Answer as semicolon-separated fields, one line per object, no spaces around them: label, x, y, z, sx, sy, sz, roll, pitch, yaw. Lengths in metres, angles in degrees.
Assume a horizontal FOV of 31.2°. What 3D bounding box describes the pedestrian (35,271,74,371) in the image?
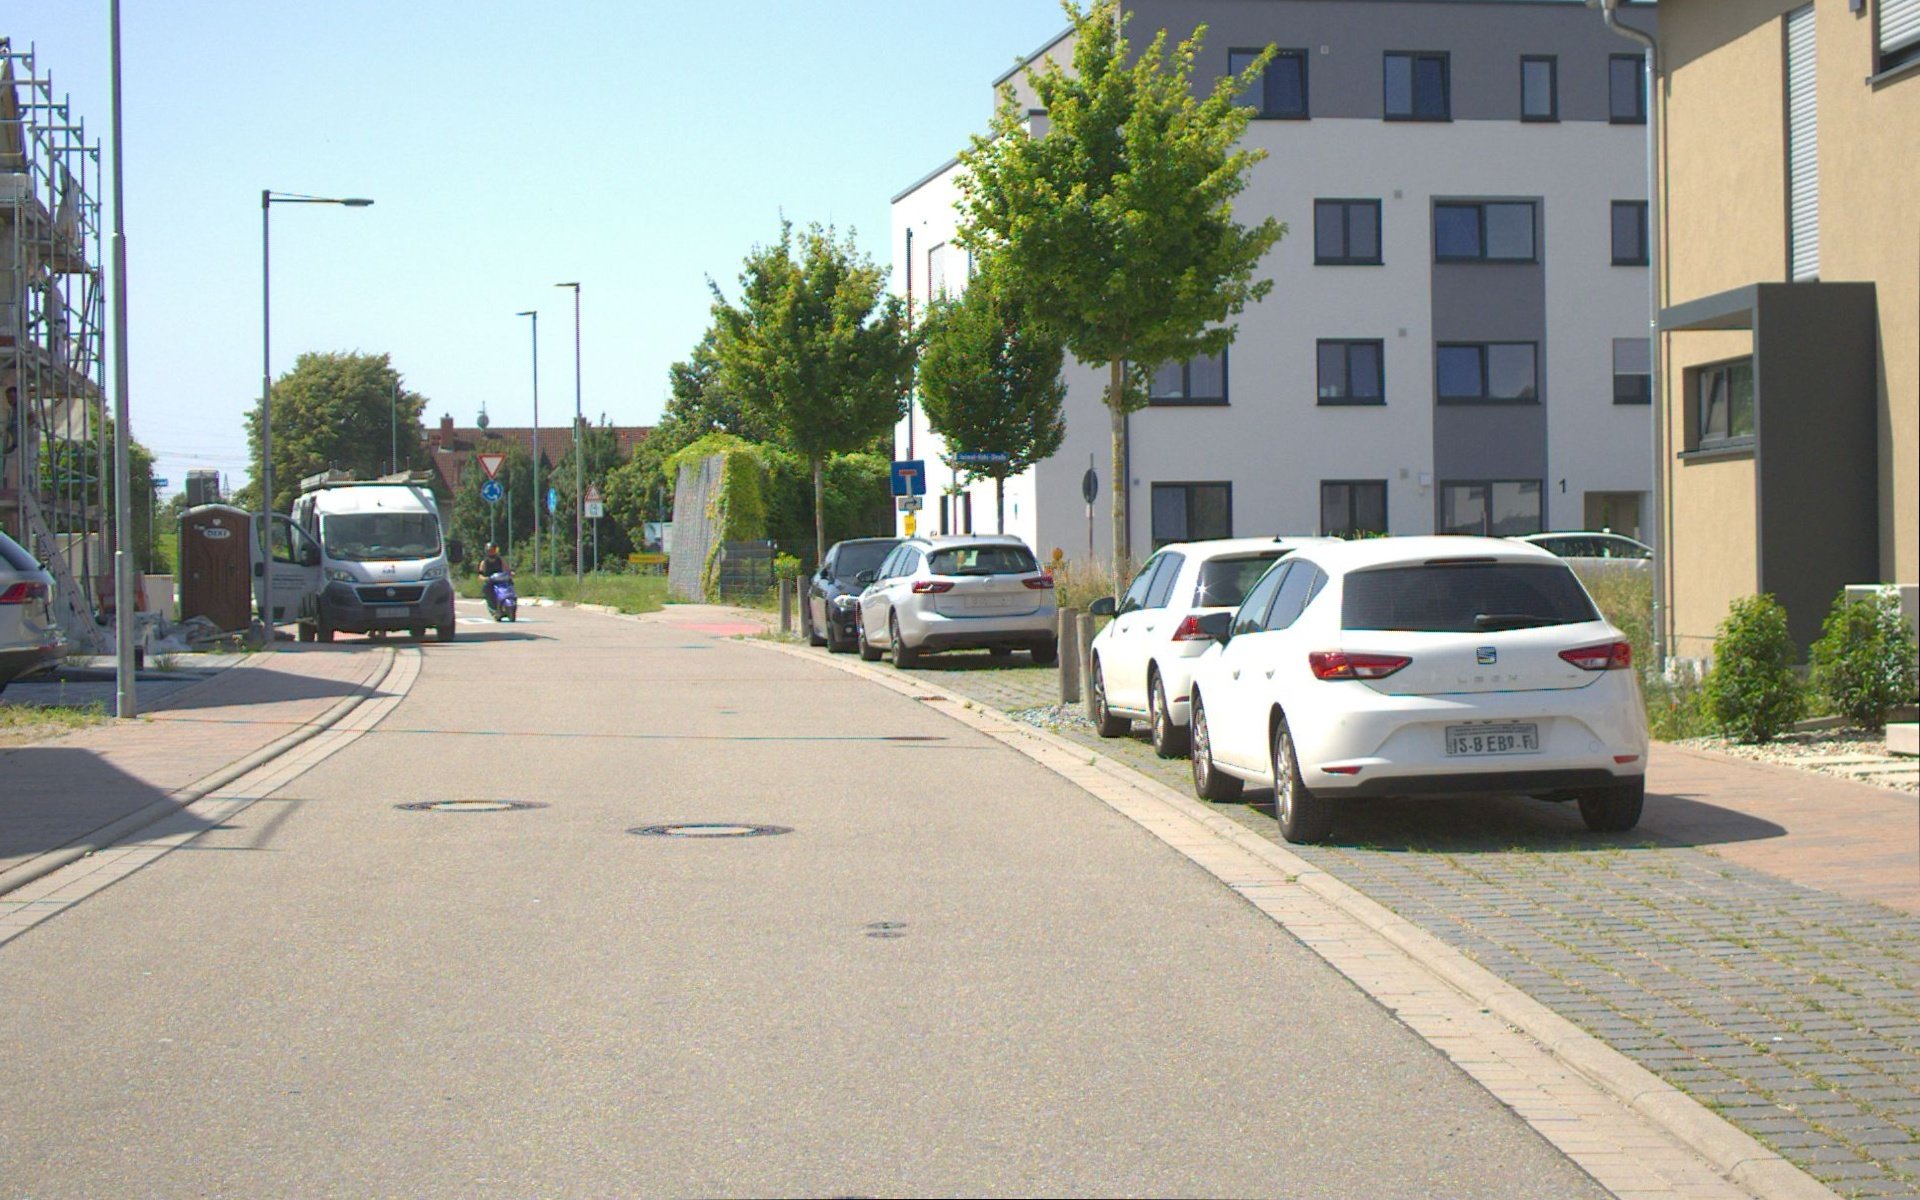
pedestrian;-14.196;-4.365;53.911;0.561;1.494;0.748;-1;-1;-14

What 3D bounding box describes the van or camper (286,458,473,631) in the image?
van or camper;-9.252;-0.845;54.343;2.272;2.544;6.369;-1;0;-15

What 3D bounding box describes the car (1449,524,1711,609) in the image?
car;11.016;-0.591;61.219;4.157;1.431;1.883;-1;0;-11

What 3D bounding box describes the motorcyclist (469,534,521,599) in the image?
motorcyclist;-9.025;-0.657;66.676;0.924;1.218;0.804;-1;2;-12

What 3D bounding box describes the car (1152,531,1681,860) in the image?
car;2.239;0.402;18.151;1.814;1.451;4.565;-2;1;-4

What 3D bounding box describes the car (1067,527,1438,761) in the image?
car;1.966;0.238;24.477;1.779;1.421;4.515;-2;2;-6

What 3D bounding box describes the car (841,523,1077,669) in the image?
car;-0.095;-0.104;40.341;1.918;1.506;5.296;-2;2;-9

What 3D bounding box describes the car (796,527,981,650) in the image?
car;-1.031;-0.201;46.339;1.918;1.464;5.141;-2;2;-7

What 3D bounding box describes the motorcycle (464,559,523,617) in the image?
motorcycle;-9.148;-0.252;67.322;0.955;1.031;2.437;-1;3;-12

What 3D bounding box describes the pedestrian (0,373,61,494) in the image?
pedestrian;-13.381;-2.379;49.248;0.578;1.674;0.746;-2;-1;39

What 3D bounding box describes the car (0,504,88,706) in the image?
car;-9.563;0.063;28.267;4.423;1.606;2.001;-1;1;-9
